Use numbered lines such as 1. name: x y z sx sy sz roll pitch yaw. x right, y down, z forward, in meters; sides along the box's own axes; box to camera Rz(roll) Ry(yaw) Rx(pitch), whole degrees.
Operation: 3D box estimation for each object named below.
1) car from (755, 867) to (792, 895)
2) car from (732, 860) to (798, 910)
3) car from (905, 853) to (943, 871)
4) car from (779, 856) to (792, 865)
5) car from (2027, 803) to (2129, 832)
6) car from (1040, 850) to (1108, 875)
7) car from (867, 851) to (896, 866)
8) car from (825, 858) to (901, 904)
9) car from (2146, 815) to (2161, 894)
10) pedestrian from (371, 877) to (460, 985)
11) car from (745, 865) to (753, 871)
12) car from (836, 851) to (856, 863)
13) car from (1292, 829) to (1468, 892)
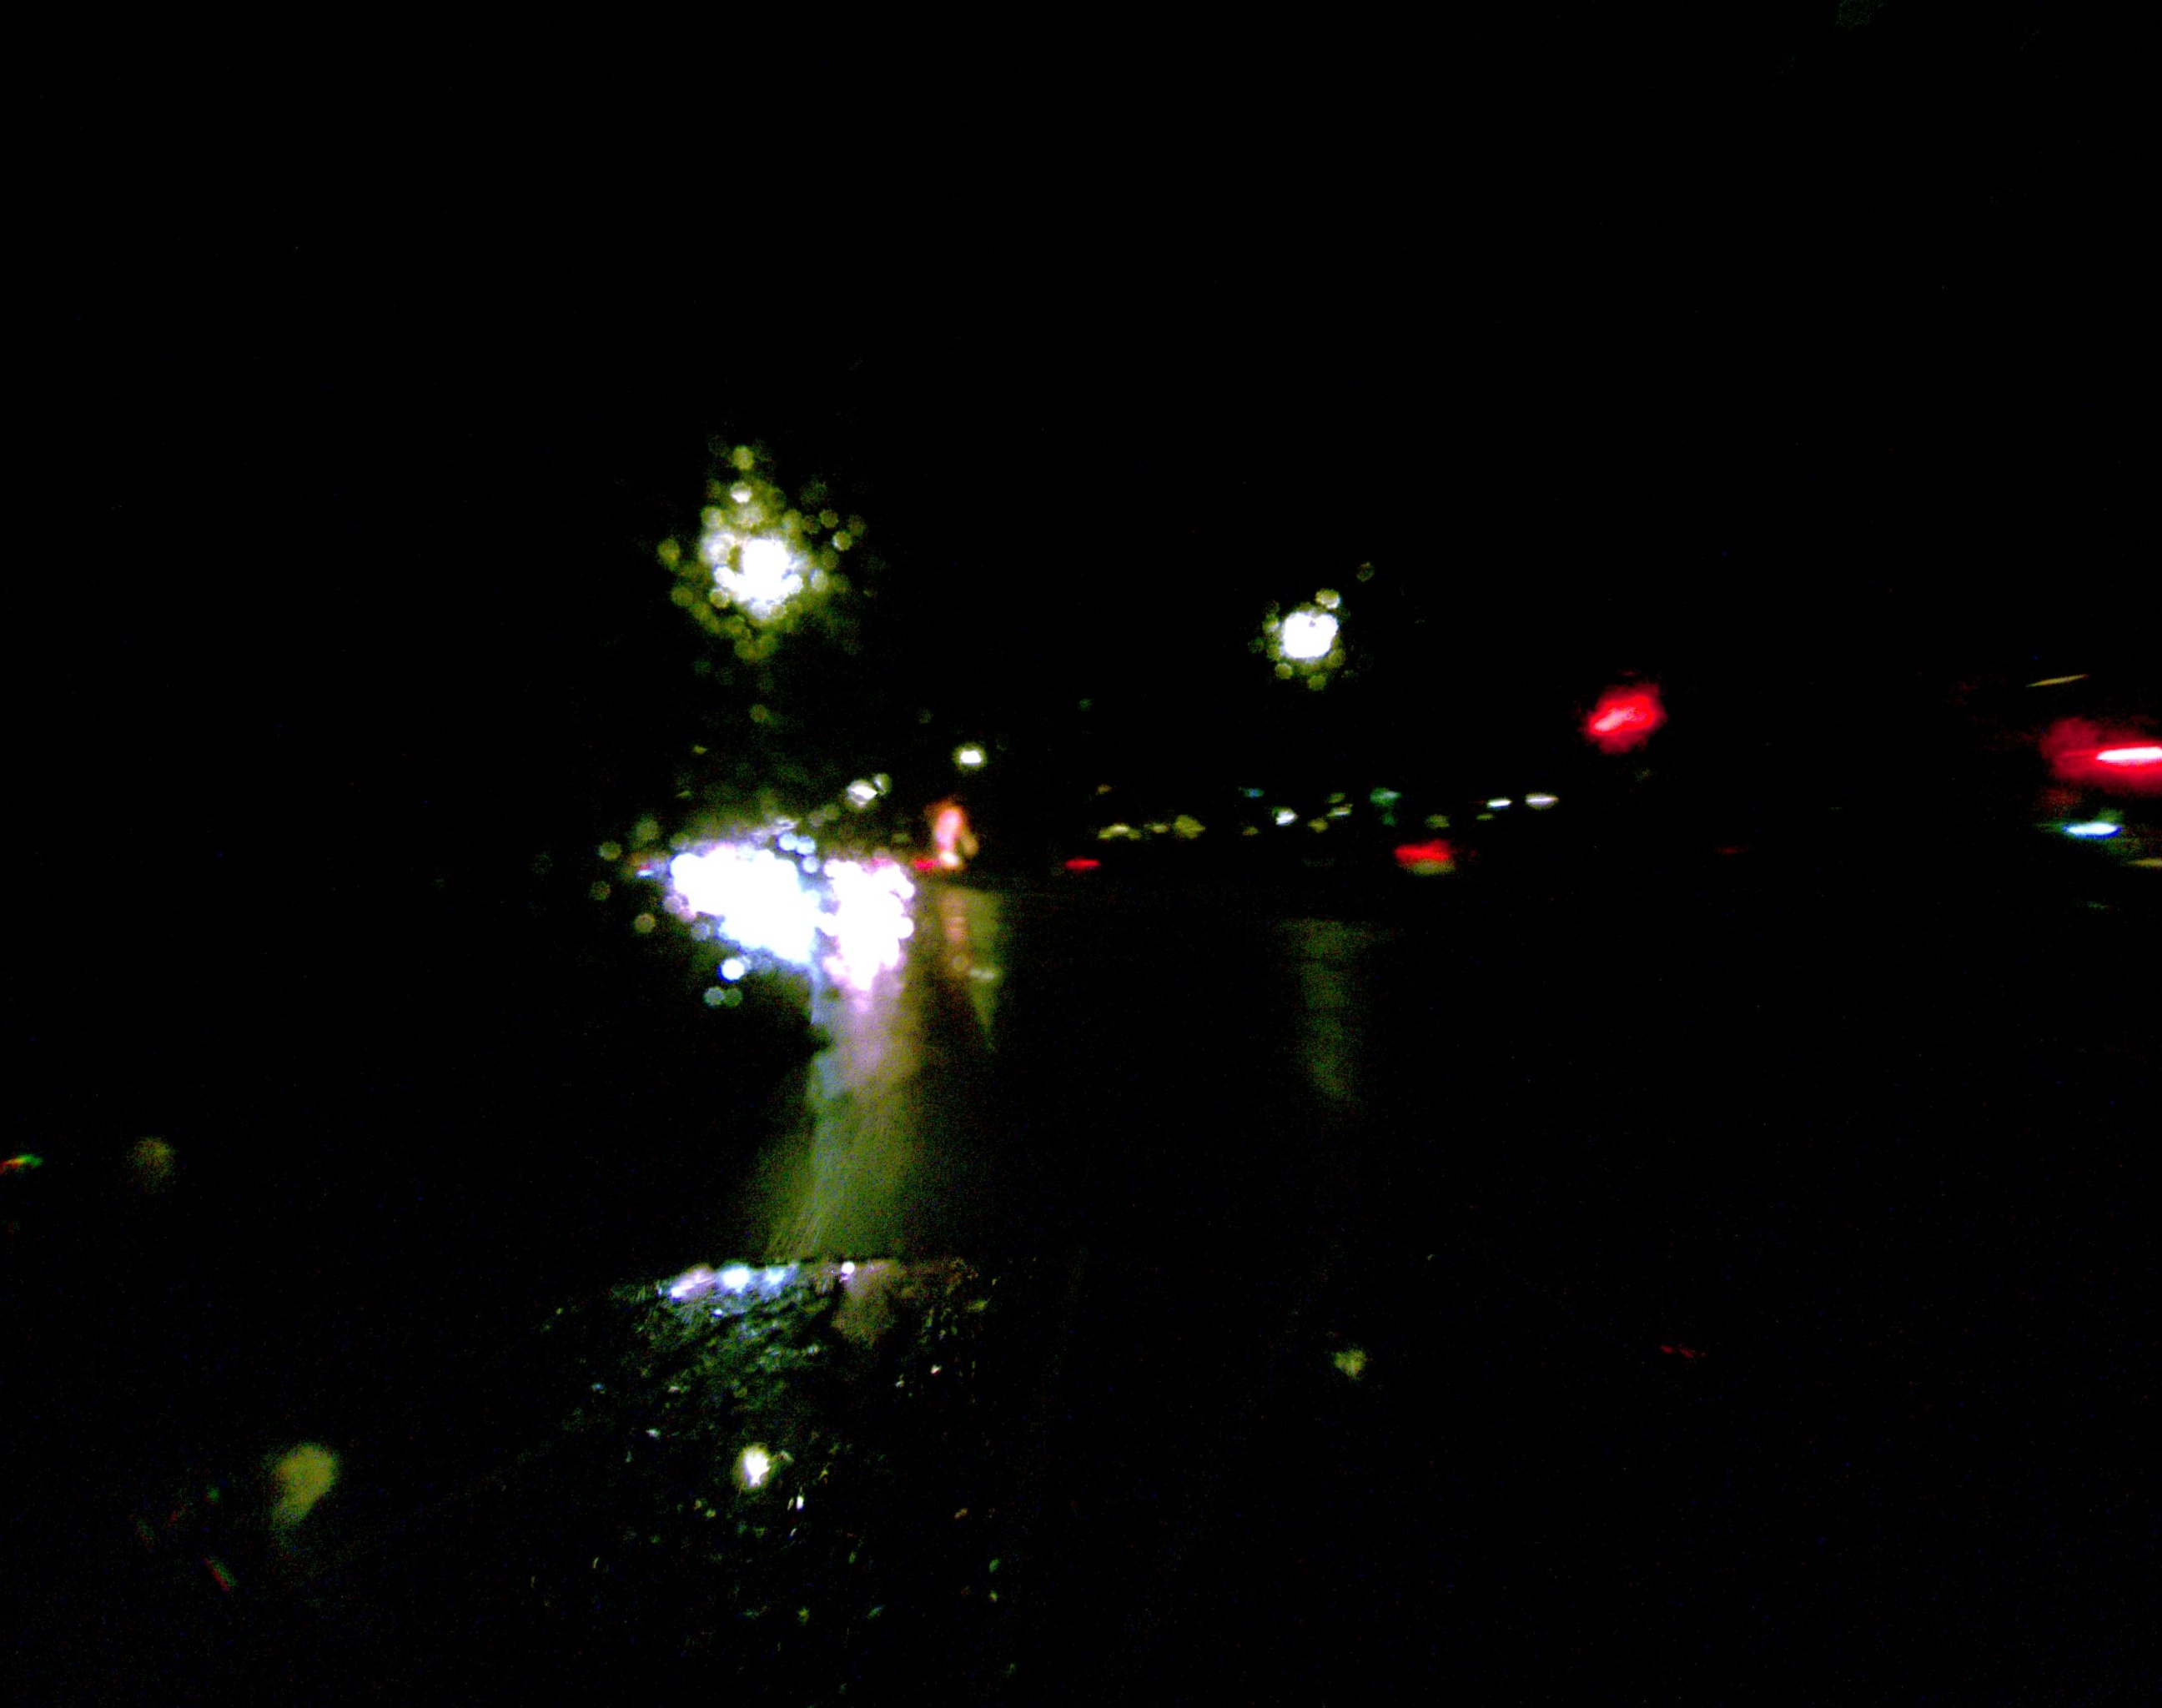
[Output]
1. car: -21.420 1.869 52.914 1.837 1.697 4.185 -4 2 -28
2. car: -12.932 1.186 30.961 1.954 1.710 4.432 -4 2 -28
3. car: -14.145 0.743 68.207 1.837 1.456 4.648 -4 2 -30
4. car: -66.189 1.440 169.950 2.033 1.674 4.537 -4 2 -29
5. car: 57.883 -2.112 44.221 1.676 1.521 4.004 -3 2 19
6. car: -0.532 0.529 49.637 2.002 1.394 5.337 -4 2 -30
7. car: -21.261 0.465 80.778 1.837 1.456 3.990 -4 2 -31
8. car: -8.740 0.999 30.150 1.837 1.518 4.863 -4 2 -28
9. car: 22.598 -0.025 13.220 4.404 1.532 2.003 -2 2 42
10. pedestrian: -9.887 1.115 11.331 0.729 1.477 0.834 -5 2 -29
11. car: -95.410 3.902 218.277 1.851 1.583 4.356 -4 2 -27
12. car: -34.752 0.441 112.205 1.837 1.704 4.430 -4 2 -28
13. car: 9.530 0.198 24.658 2.073 1.706 5.028 -5 2 -31
